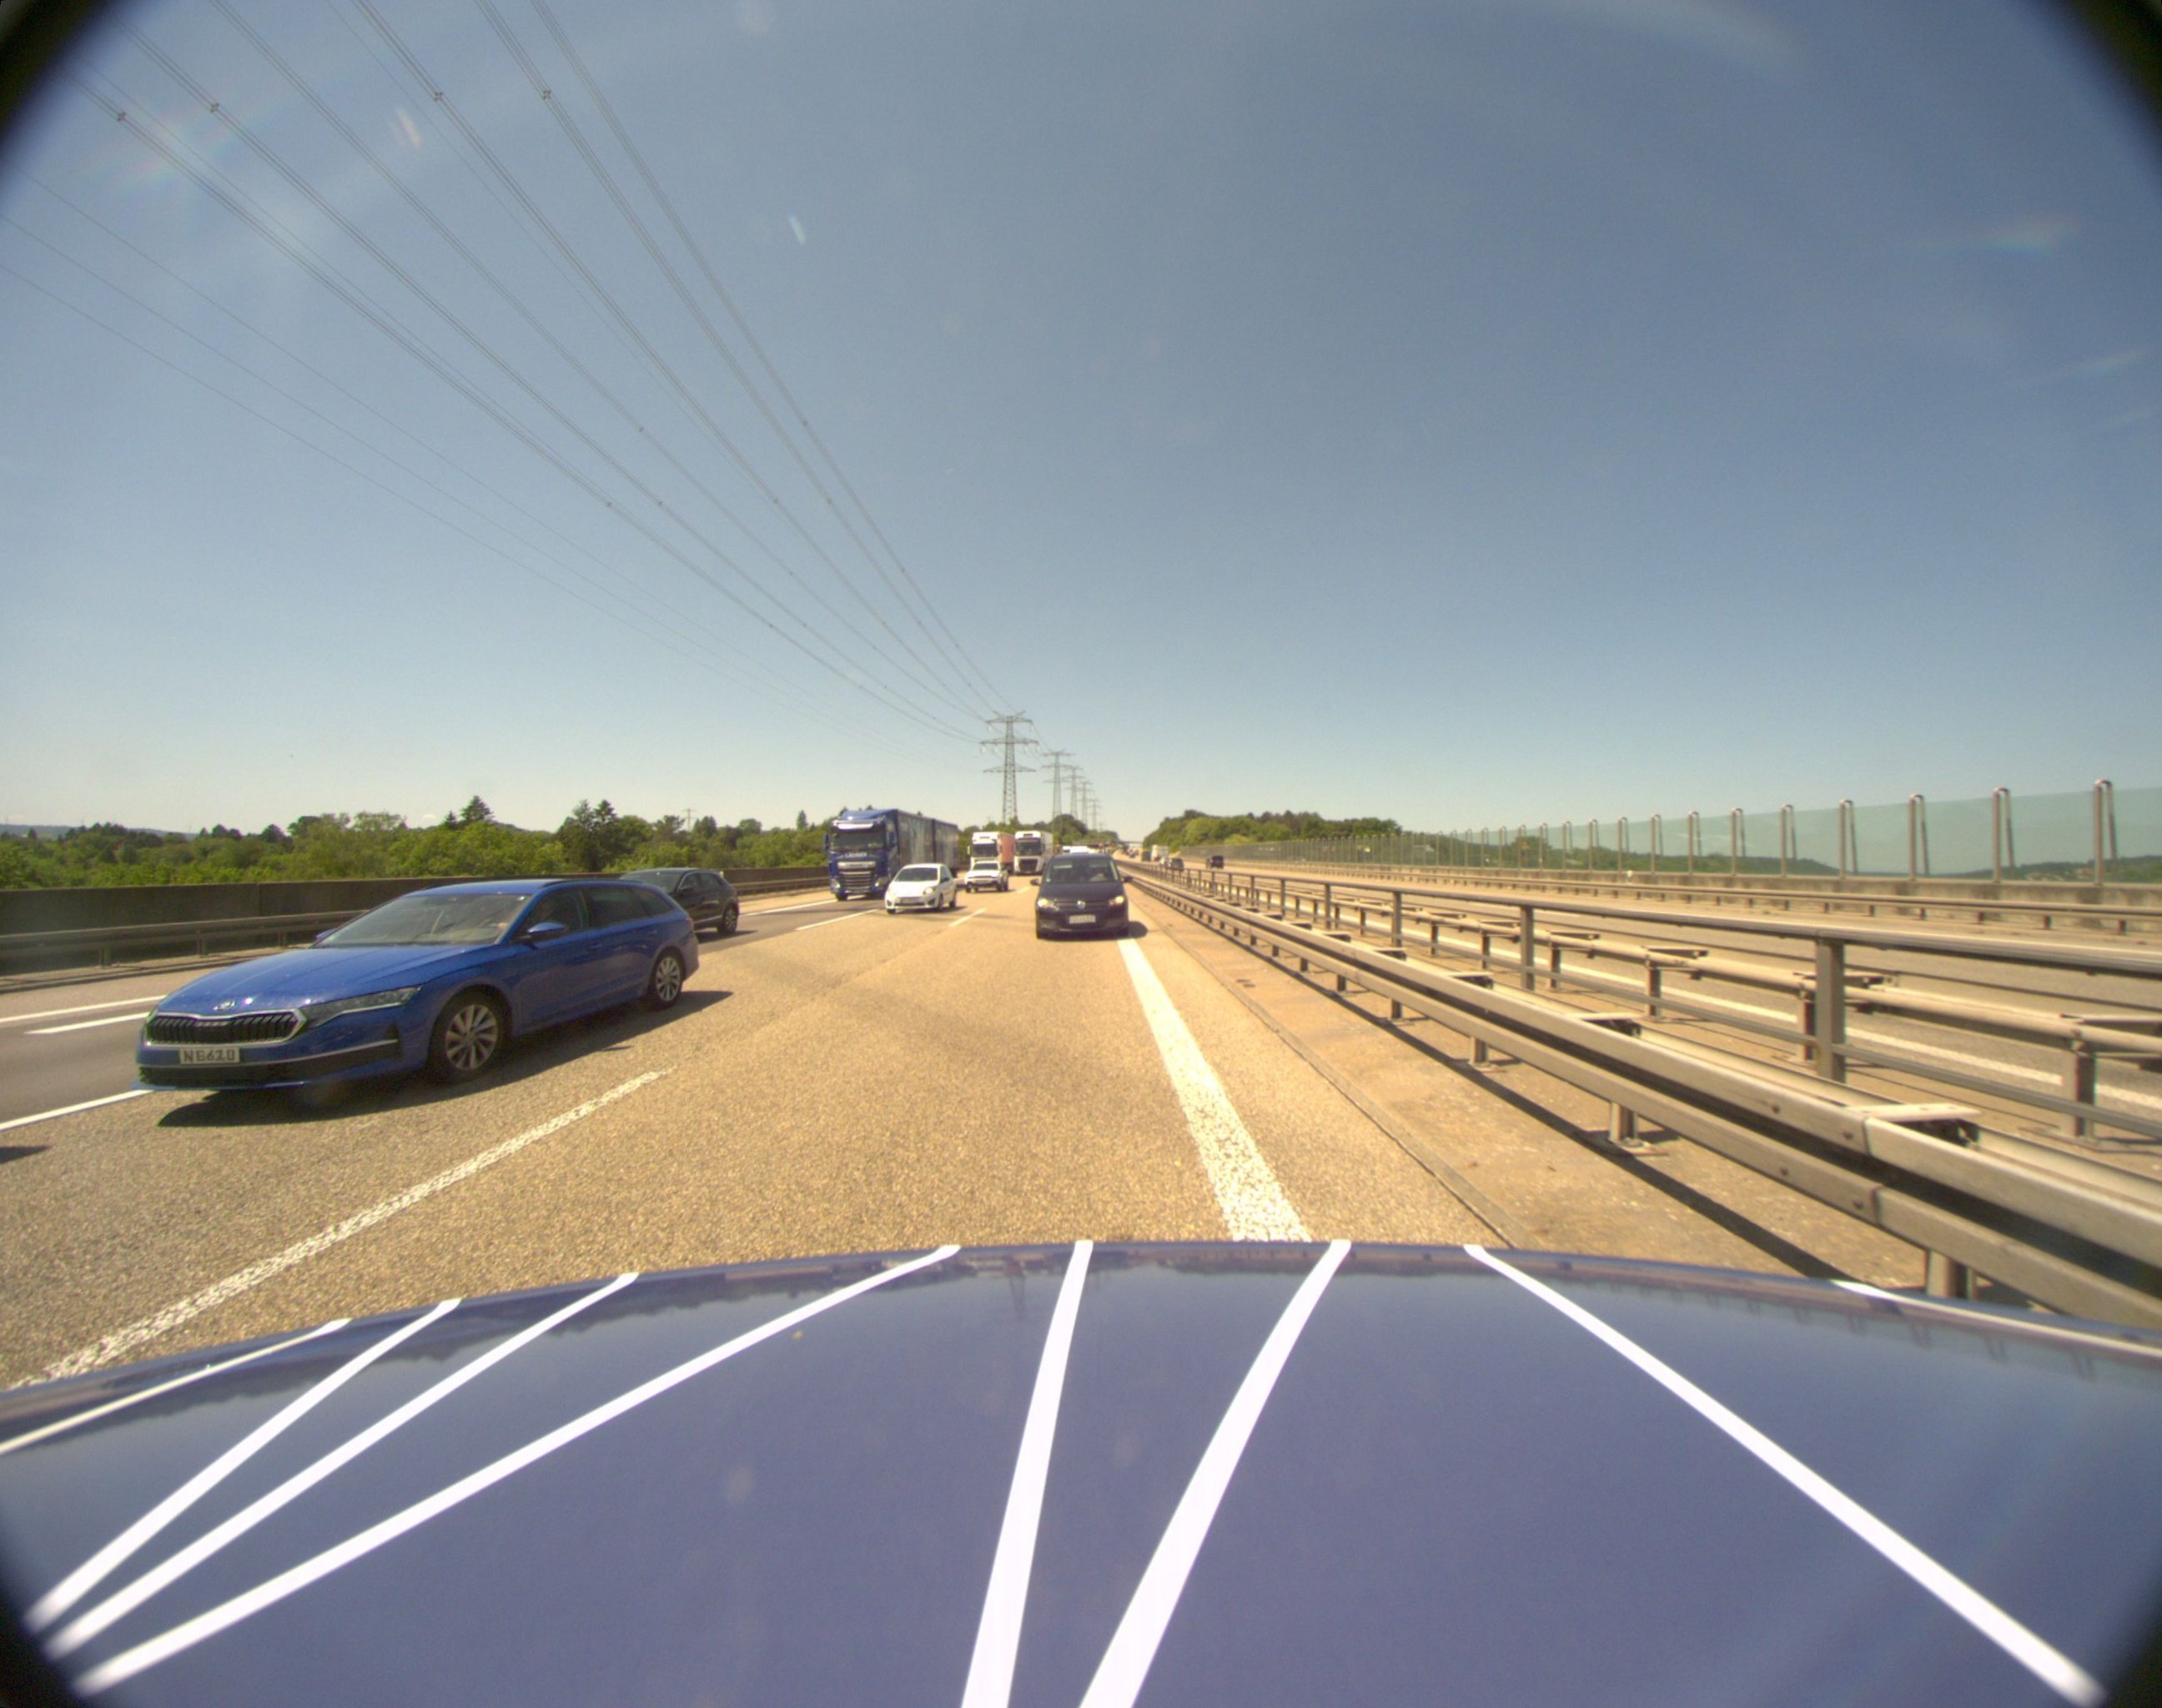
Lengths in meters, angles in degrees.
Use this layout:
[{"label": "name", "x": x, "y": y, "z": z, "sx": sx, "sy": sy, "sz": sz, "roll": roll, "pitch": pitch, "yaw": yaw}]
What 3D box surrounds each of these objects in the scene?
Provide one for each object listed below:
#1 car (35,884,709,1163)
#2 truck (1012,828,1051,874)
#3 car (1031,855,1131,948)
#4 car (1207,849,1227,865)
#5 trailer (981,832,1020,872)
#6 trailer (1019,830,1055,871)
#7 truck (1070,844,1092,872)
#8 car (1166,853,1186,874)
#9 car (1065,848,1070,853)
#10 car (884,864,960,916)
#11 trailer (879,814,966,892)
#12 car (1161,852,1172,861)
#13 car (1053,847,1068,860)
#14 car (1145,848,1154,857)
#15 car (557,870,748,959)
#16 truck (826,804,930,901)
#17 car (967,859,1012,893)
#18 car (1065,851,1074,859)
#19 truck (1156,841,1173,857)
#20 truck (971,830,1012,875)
[{"label": "car", "x": -5.313, "y": 1.096, "z": 6.768, "sx": 1.714, "sy": 1.432, "sz": 4.500, "roll": -2, "pitch": 0, "yaw": 1}, {"label": "truck", "x": -4.407, "y": -0.304, "z": 69.182, "sx": 2.914, "sy": 3.869, "sz": 6.739, "roll": -2, "pitch": 1, "yaw": 0}, {"label": "car", "x": -0.005, "y": 0.853, "z": 15.500, "sx": 1.739, "sy": 1.607, "sz": 3.911, "roll": -2, "pitch": 0, "yaw": 0}, {"label": "car", "x": 18.601, "y": 0.402, "z": 104.009, "sx": 2.021, "sy": 2.002, "sz": 3.968, "roll": -2, "pitch": 1, "yaw": 1}, {"label": "trailer", "x": -8.169, "y": -0.242, "z": 77.729, "sx": 2.904, "sy": 3.779, "sz": 8.687, "roll": -2, "pitch": 1, "yaw": 0}, {"label": "trailer", "x": -4.399, "y": -0.399, "z": 77.464, "sx": 2.898, "sy": 3.847, "sz": 9.773, "roll": -2, "pitch": 1, "yaw": 0}, {"label": "truck", "x": 0.054, "y": 0.382, "z": 79.021, "sx": 2.100, "sy": 2.700, "sz": 5.864, "roll": -2, "pitch": 1, "yaw": 1}, {"label": "car", "x": 9.461, "y": 0.945, "z": 76.145, "sx": 1.584, "sy": 2.002, "sz": 3.546, "roll": 0, "pitch": 0, "yaw": 1}, {"label": "car", "x": -4.305, "y": -1.042, "z": 242.375, "sx": 1.701, "sy": 1.599, "sz": 3.639, "roll": -2, "pitch": 1, "yaw": 1}, {"label": "car", "x": -4.932, "y": 1.077, "z": 24.050, "sx": 1.583, "sy": 1.432, "sz": 3.629, "roll": -2, "pitch": 0, "yaw": 0}, {"label": "trailer", "x": -9.069, "y": -0.117, "z": 44.856, "sx": 2.543, "sy": 3.971, "sz": 10.884, "roll": -2, "pitch": 1, "yaw": 1}, {"label": "car", "x": 14.491, "y": 0.461, "z": 128.802, "sx": 1.473, "sy": 1.492, "sz": 3.200, "roll": 0, "pitch": 1, "yaw": 1}, {"label": "car", "x": -3.216, "y": -0.134, "z": 119.346, "sx": 1.998, "sy": 2.002, "sz": 4.000, "roll": -2, "pitch": 1, "yaw": 1}, {"label": "car", "x": 15.672, "y": -0.379, "z": 175.012, "sx": 1.725, "sy": 1.849, "sz": 3.555, "roll": -2, "pitch": 1, "yaw": 1}, {"label": "car", "x": -8.671, "y": 1.151, "z": 15.816, "sx": 1.709, "sy": 1.497, "sz": 3.888, "roll": -2, "pitch": 0, "yaw": 0}, {"label": "truck", "x": -9.180, "y": -0.047, "z": 35.420, "sx": 2.517, "sy": 3.944, "sz": 7.927, "roll": -2, "pitch": 0, "yaw": 1}, {"label": "car", "x": -4.494, "y": 1.044, "z": 37.826, "sx": 1.722, "sy": 1.526, "sz": 3.753, "roll": -2, "pitch": 0, "yaw": 0}, {"label": "car", "x": -2.359, "y": 0.192, "z": 159.518, "sx": 1.701, "sy": 1.599, "sz": 3.639, "roll": -2, "pitch": 1, "yaw": 1}, {"label": "truck", "x": 19.851, "y": -1.232, "z": 181.206, "sx": 3.289, "sy": 3.628, "sz": 6.975, "roll": -2, "pitch": 1, "yaw": 1}, {"label": "truck", "x": -8.154, "y": -0.169, "z": 70.010, "sx": 2.914, "sy": 3.869, "sz": 6.739, "roll": -2, "pitch": 1, "yaw": 0}]
